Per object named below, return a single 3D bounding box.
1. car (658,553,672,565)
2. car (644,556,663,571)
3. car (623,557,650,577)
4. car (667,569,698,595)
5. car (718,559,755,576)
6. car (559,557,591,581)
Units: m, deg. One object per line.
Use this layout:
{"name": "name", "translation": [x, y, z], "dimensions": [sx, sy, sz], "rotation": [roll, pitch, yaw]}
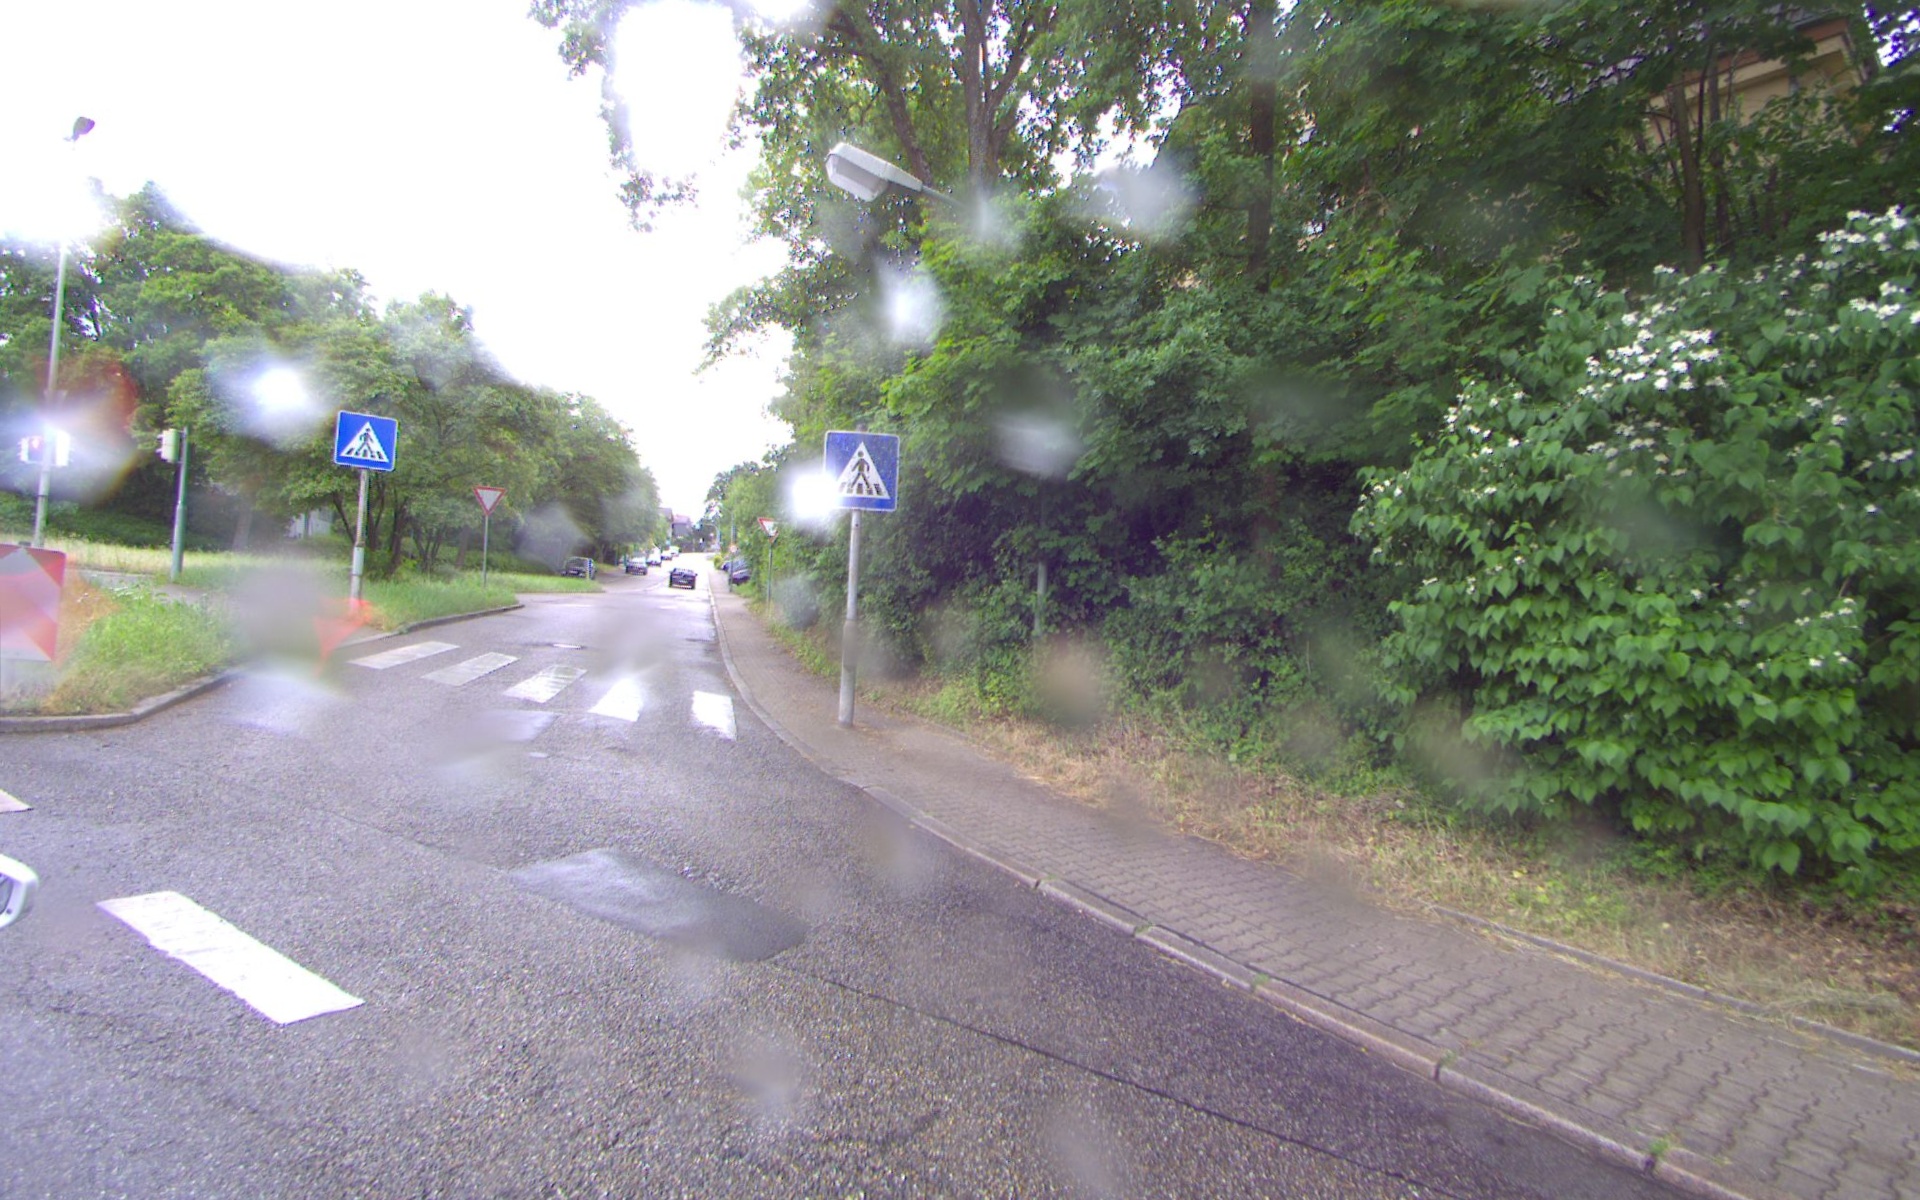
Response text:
{"name": "car", "translation": [-46.774, -6.486, 159.507], "dimensions": [1.877, 1.413, 4.151], "rotation": [7, -2, -20]}
{"name": "car", "translation": [-37.709, -4.458, 123.643], "dimensions": [1.968, 1.463, 4.278], "rotation": [7, -2, -19]}
{"name": "car", "translation": [-30.105, -3.045, 93.729], "dimensions": [1.874, 1.467, 4.285], "rotation": [7, -2, -13]}
{"name": "car", "translation": [-19.334, -1.289, 70.279], "dimensions": [1.789, 1.461, 4.148], "rotation": [6, 1, -14]}
{"name": "car", "translation": [-25.770, -3.719, 116.090], "dimensions": [3.939, 1.594, 1.766], "rotation": [5, 1, -18]}
{"name": "car", "translation": [-25.889, -2.097, 67.733], "dimensions": [1.651, 1.387, 3.477], "rotation": [6, 0, -16]}
